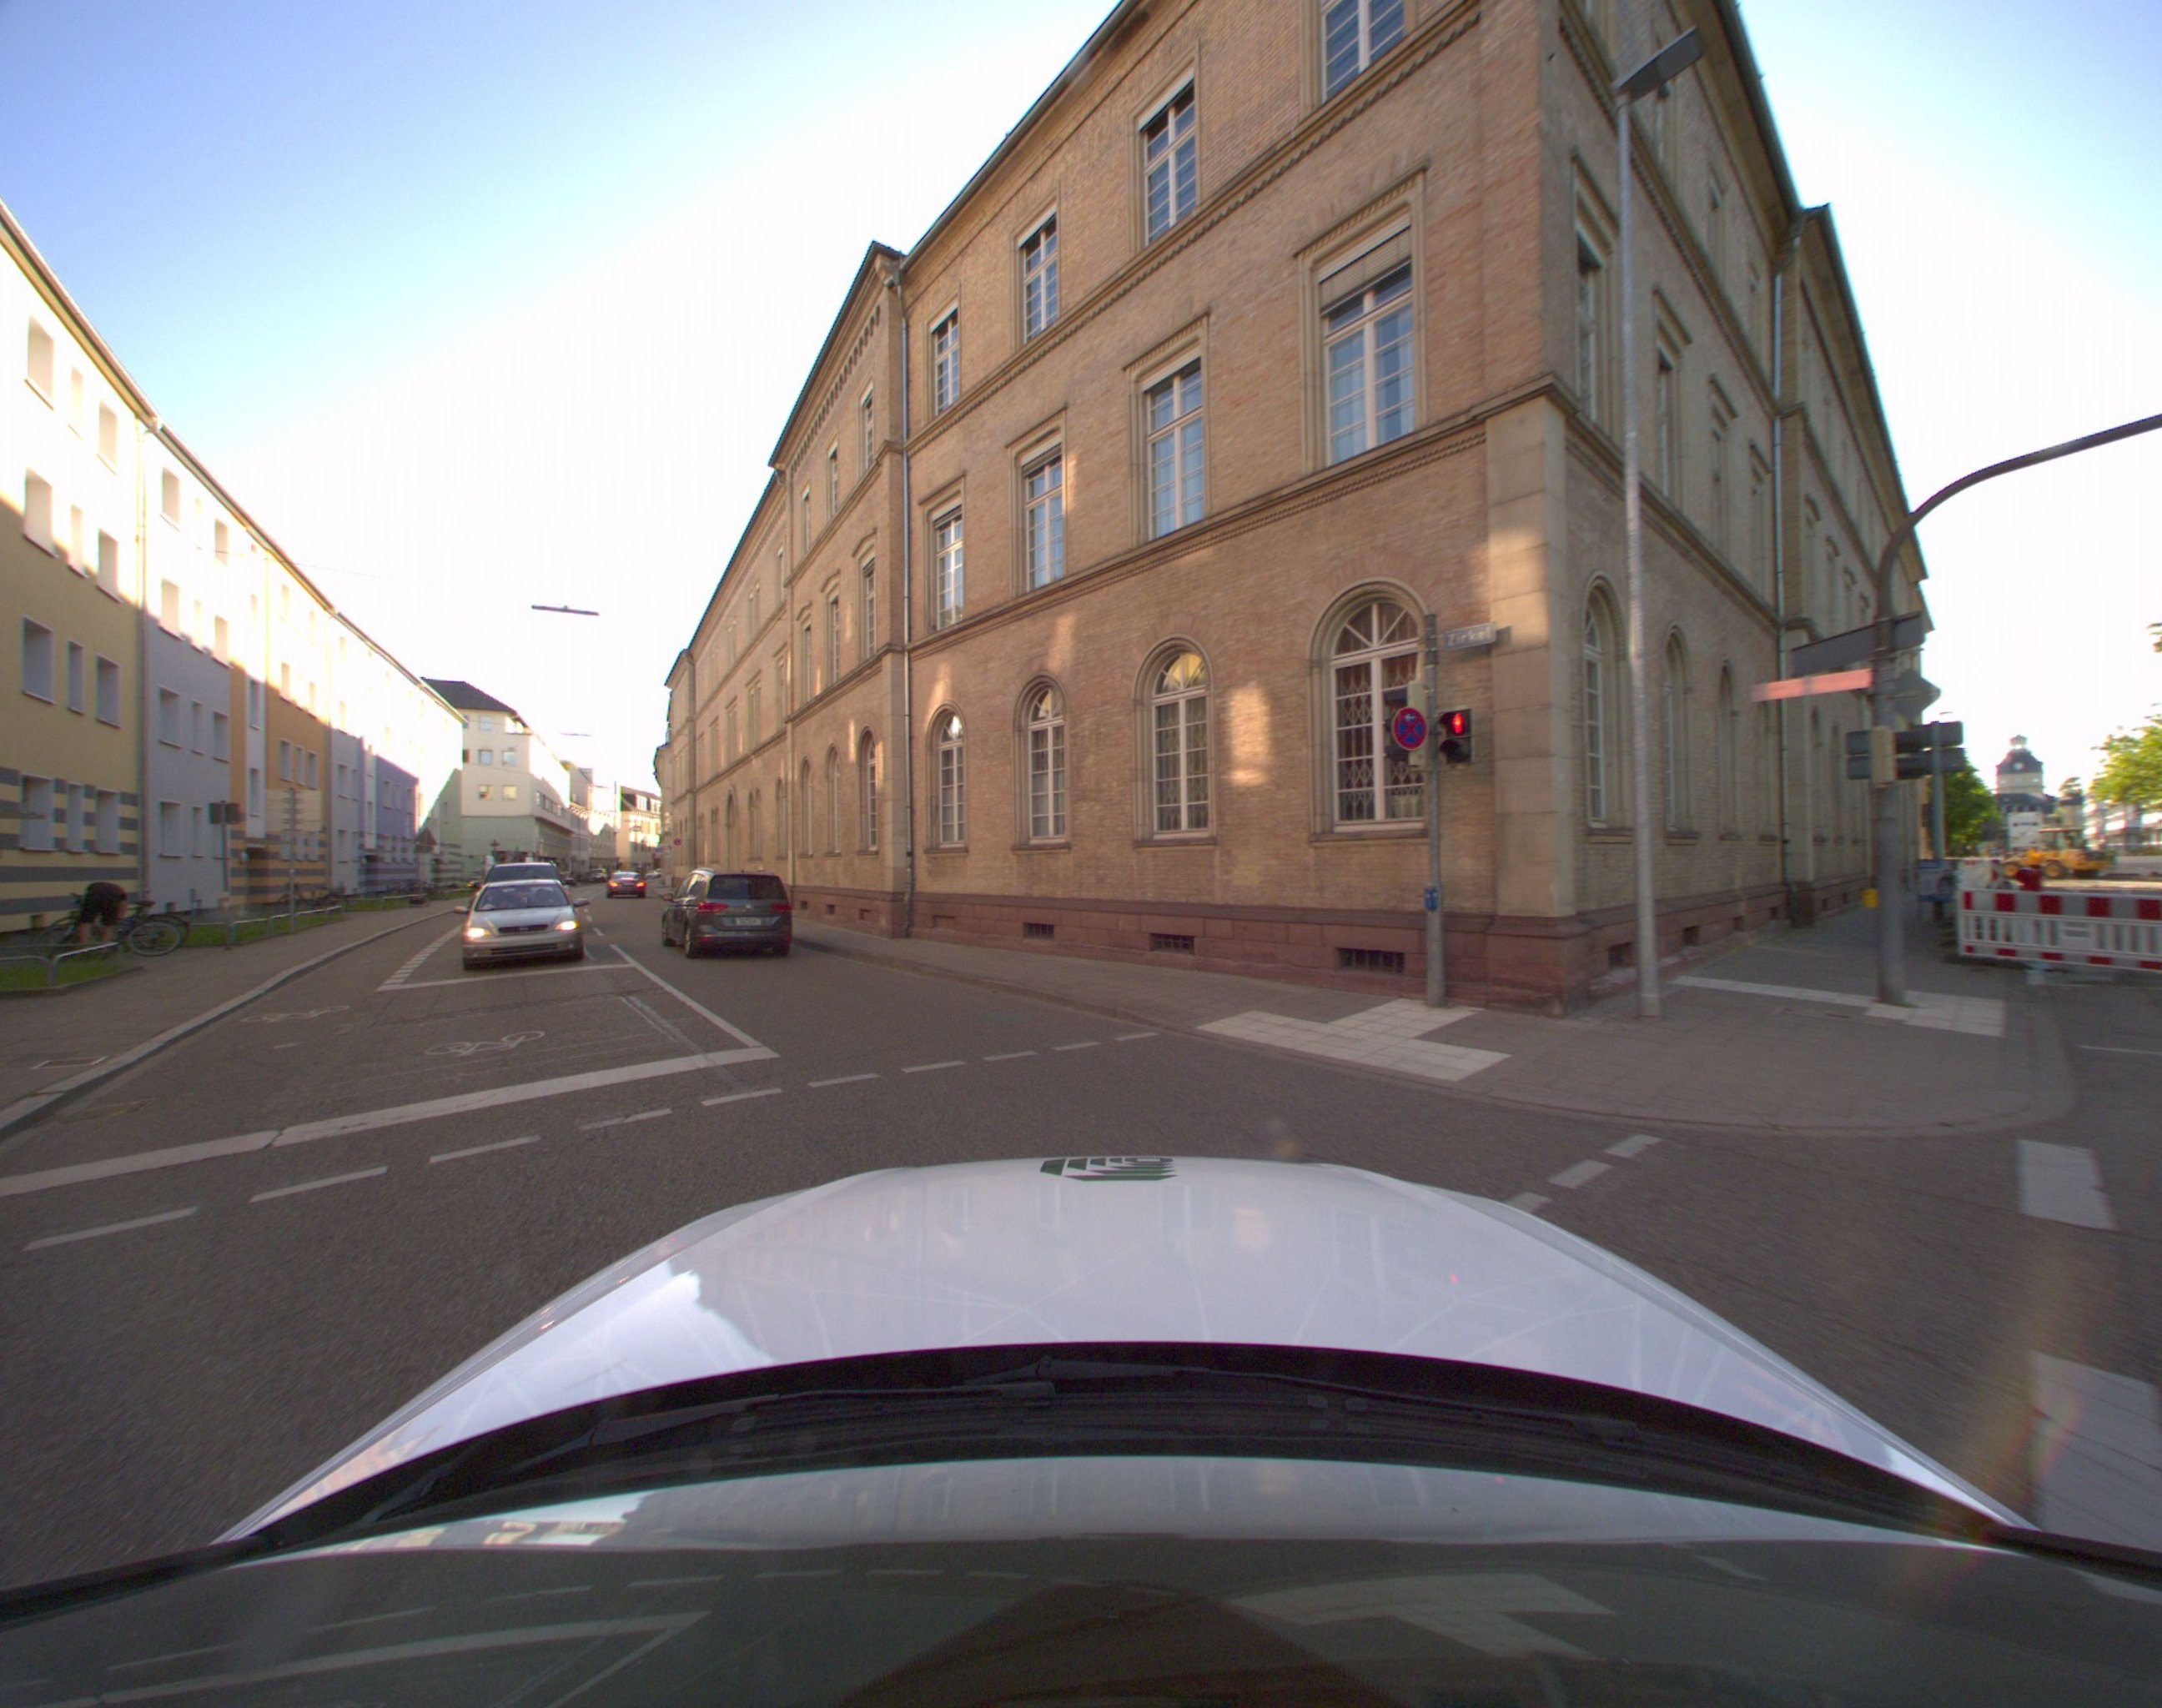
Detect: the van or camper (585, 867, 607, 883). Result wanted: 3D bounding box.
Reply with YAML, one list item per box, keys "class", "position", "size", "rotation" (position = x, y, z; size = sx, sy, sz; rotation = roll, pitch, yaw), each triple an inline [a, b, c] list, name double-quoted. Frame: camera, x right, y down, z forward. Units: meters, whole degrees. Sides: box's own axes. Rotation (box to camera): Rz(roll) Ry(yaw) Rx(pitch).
- class: "van or camper"
  position: [-63.551, 2.700, 106.785]
  size: [2.003, 2.014, 4.447]
  rotation: [-1, -1, -24]

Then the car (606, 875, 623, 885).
- class: "car"
  position: [-70.607, 3.924, 123.313]
  size: [1.875, 1.468, 3.802]
  rotation: [-1, -1, -25]

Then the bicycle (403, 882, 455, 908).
- class: "bicycle"
  position: [-33.686, 2.105, 42.095]
  size: [2.022, 1.231, 0.616]
  rotation: [-1, -1, -33]

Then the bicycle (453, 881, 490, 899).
- class: "bicycle"
  position: [-40.356, 2.394, 53.930]
  size: [1.944, 1.180, 0.606]
  rotation: [3, -4, -39]

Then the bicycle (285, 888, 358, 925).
- class: "bicycle"
  position: [-25.659, 1.748, 27.551]
  size: [1.766, 1.145, 0.643]
  rotation: [-1, -1, -40]

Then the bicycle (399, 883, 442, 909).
- class: "bicycle"
  position: [-33.514, 2.117, 41.367]
  size: [1.650, 1.241, 0.462]
  rotation: [-1, -1, -33]

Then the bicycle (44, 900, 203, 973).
- class: "bicycle"
  position: [-17.206, 1.451, 14.697]
  size: [1.766, 1.145, 0.643]
  rotation: [-1, -1, -40]

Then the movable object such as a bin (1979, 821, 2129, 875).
- class: "movable object such as a bin"
  position: [53.323, -0.291, 44.820]
  size: [2.456, 2.777, 4.844]
  rotation: [-1, -1, 2]

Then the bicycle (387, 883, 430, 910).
- class: "bicycle"
  position: [-33.131, 2.072, 40.151]
  size: [1.595, 1.241, 0.444]
  rotation: [-1, -1, -33]

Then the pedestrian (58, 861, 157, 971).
- class: "pedestrian"
  position: [-17.116, 1.058, 14.346]
  size: [0.720, 1.854, 0.866]
  rotation: [-1, -1, -11]

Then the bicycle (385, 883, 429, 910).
- class: "bicycle"
  position: [-32.915, 2.060, 39.799]
  size: [1.590, 1.241, 0.380]
  rotation: [-1, -1, -33]

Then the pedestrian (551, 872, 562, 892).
- class: "pedestrian"
  position: [-48.072, 2.586, 74.608]
  size: [0.555, 1.829, 0.729]
  rotation: [-1, -1, -6]

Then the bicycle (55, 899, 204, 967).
- class: "bicycle"
  position: [-18.224, 1.479, 15.659]
  size: [1.766, 1.145, 0.643]
  rotation: [-1, -1, -40]

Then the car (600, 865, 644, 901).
- class: "car"
  position: [-25.551, 1.589, 45.295]
  size: [2.007, 1.882, 3.960]
  rotation: [0, -1, -31]

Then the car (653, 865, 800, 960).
- class: "car"
  position: [-7.022, 1.040, 15.919]
  size: [1.775, 1.607, 3.955]
  rotation: [2, -2, -36]

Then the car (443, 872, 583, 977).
- class: "car"
  position: [-10.023, 1.127, 14.633]
  size: [1.753, 1.486, 4.095]
  rotation: [-3, 1, -32]

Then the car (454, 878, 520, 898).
- class: "car"
  position: [-48.940, 2.779, 67.243]
  size: [4.122, 1.443, 1.930]
  rotation: [-2, 0, -28]

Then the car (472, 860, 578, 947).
- class: "car"
  position: [-13.956, 1.147, 20.609]
  size: [1.913, 1.835, 5.042]
  rotation: [-3, 0, -33]

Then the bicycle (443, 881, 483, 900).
- class: "bicycle"
  position: [-39.872, 2.363, 52.528]
  size: [0.606, 1.180, 1.946]
  rotation: [-2, -4, 45]
